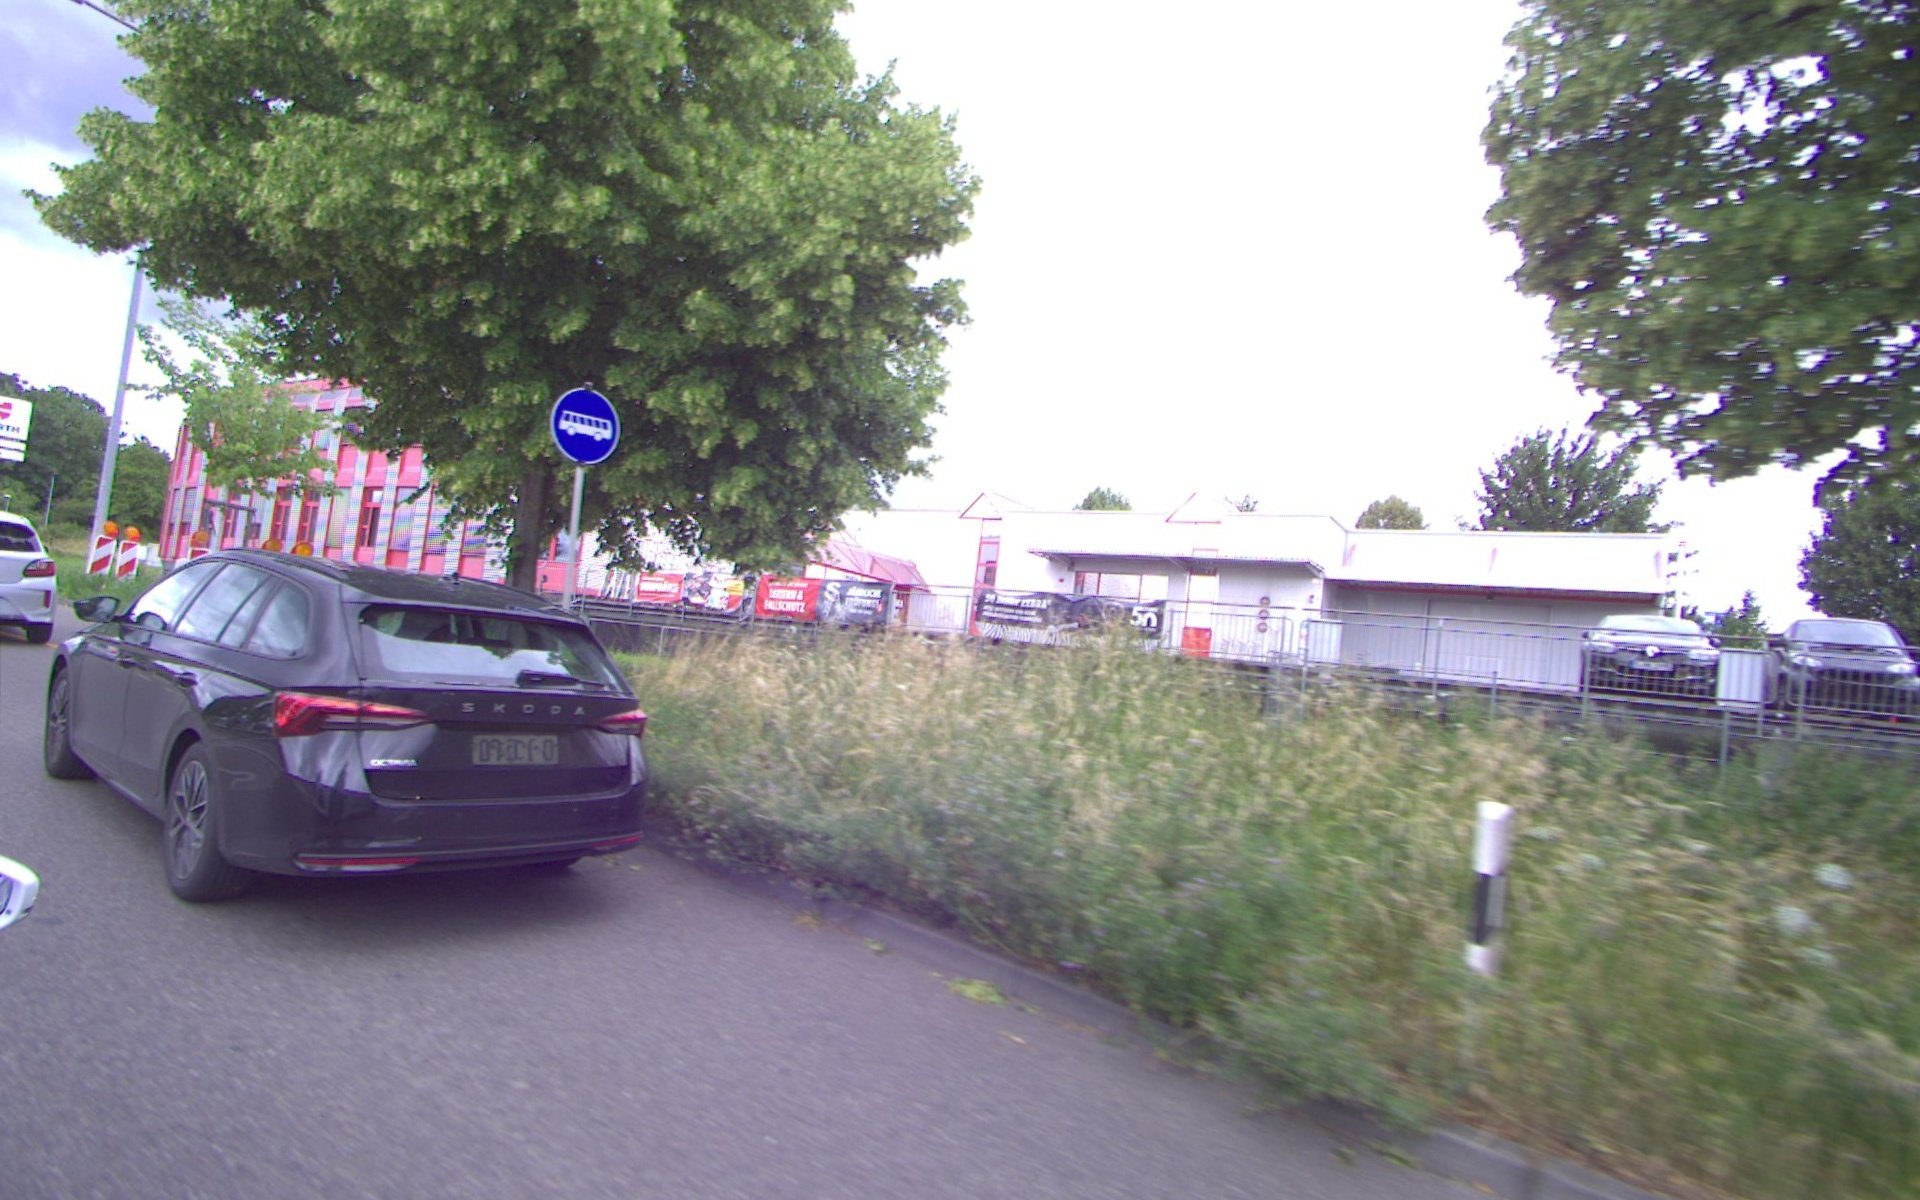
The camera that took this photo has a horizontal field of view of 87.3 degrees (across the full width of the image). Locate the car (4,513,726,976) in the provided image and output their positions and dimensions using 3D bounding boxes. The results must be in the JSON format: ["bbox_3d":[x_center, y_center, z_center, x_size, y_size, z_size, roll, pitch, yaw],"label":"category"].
[{"bbox_3d":[-3.419,0.468,5.443,4.214,1.449,1.836,6,-1,38],"label":"car"}]

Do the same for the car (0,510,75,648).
[{"bbox_3d":[-12.136,-0.411,12.077,3.636,1.474,1.623,6,-3,40],"label":"car"}]

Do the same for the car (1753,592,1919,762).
[{"bbox_3d":[12.709,1.201,14.529,1.618,1.980,3.760,7,-3,36],"label":"car"}]
